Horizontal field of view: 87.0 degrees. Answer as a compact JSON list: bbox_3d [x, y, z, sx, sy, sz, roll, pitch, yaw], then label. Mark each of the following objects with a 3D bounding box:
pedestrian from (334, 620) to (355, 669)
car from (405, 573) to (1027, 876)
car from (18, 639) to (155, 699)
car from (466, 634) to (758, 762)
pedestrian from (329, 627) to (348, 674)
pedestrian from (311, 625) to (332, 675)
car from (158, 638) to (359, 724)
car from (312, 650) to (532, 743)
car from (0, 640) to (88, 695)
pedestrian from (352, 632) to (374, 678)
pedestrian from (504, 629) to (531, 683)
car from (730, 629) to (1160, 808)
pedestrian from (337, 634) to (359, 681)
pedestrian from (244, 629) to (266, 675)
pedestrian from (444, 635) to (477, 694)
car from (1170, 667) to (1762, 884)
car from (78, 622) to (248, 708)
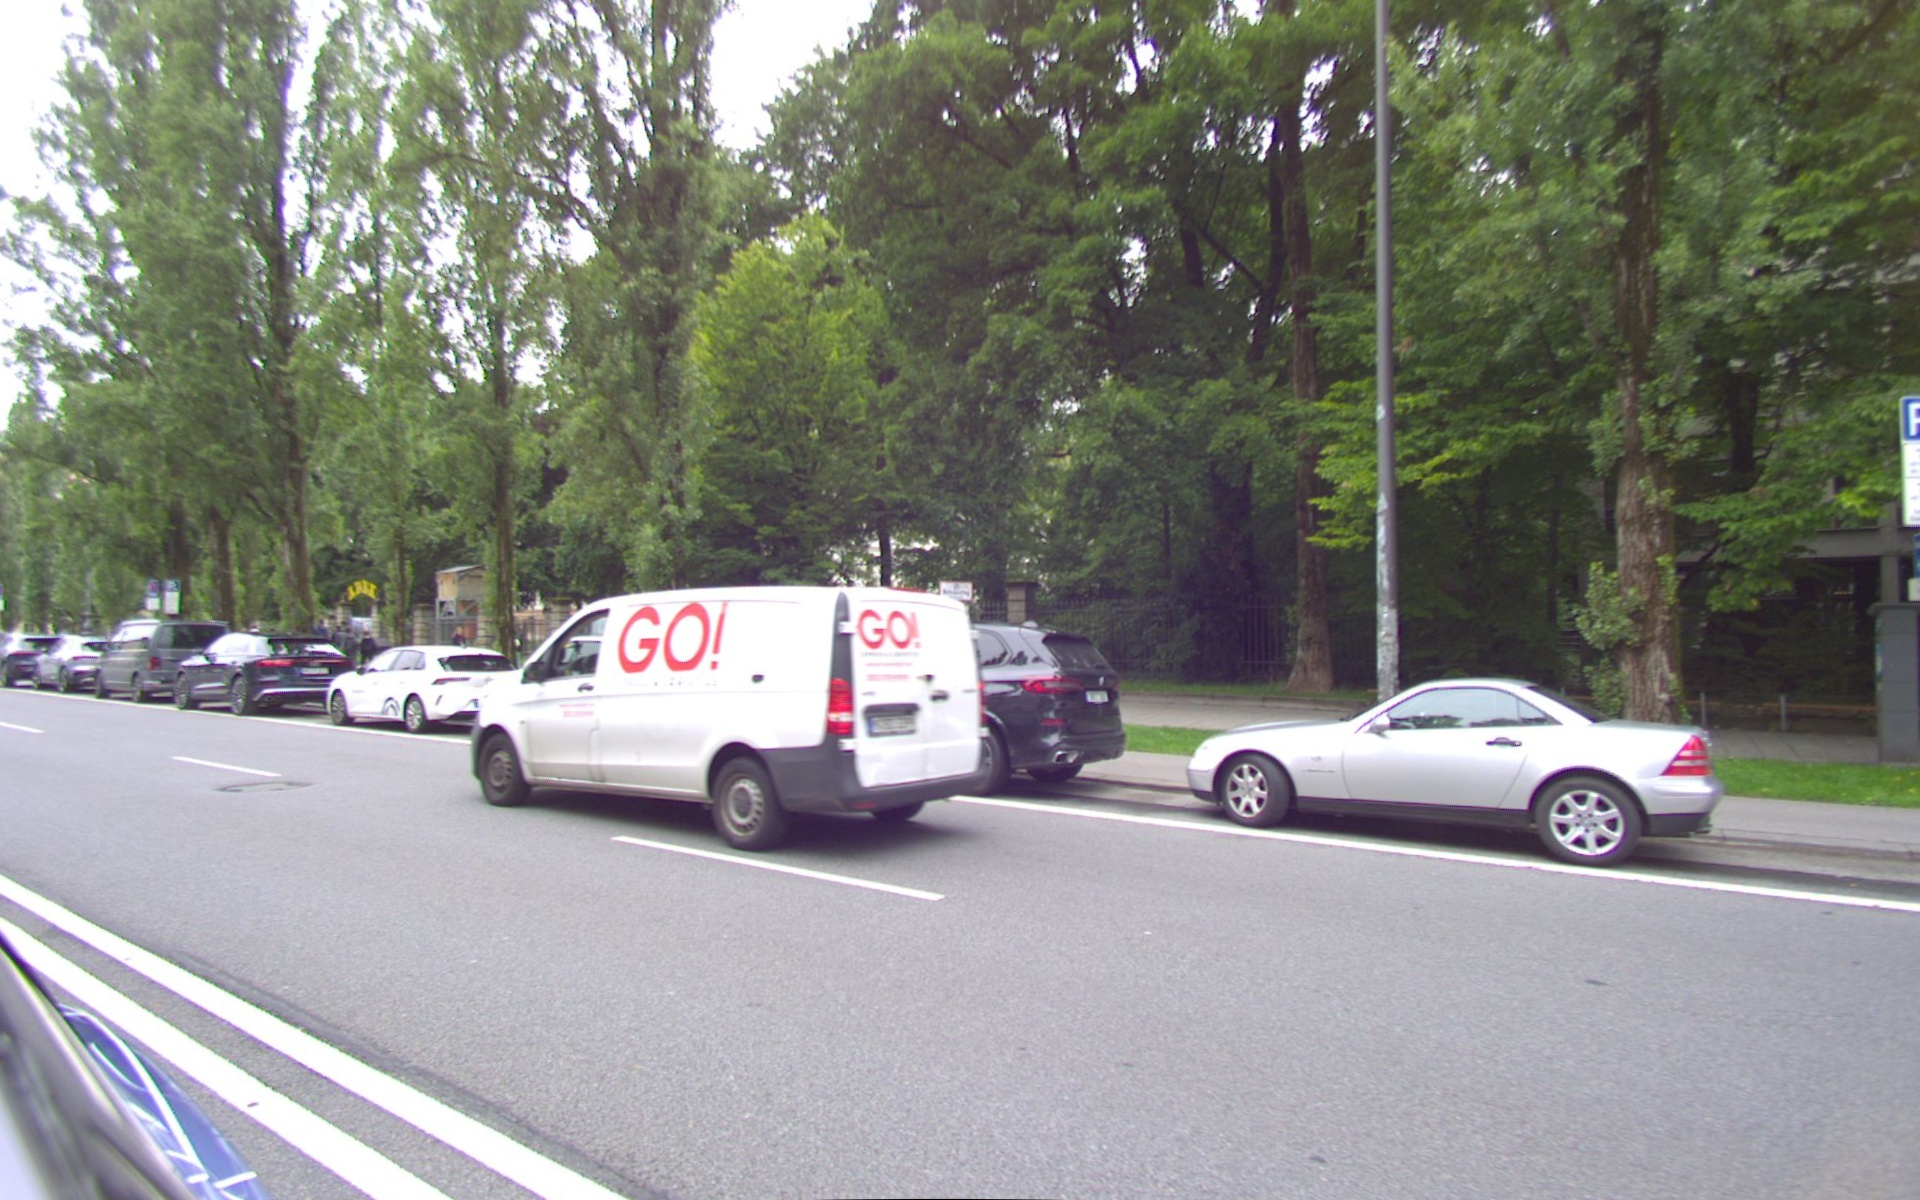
[{"bbox_3d":[-24.990,1.810,41.110,0.530,1.974,0.545,-2,-2,34],"label":"pedestrian"},{"bbox_3d":[-2.387,0.902,8.966,5.684,1.906,2.163,-2,-4,36],"label":"car"},{"bbox_3d":[-25.393,1.953,29.381,4.643,1.596,1.874,-2,-3,35],"label":"car"},{"bbox_3d":[-5.157,1.350,14.774,4.452,1.601,1.769,-2,-5,36],"label":"car"},{"bbox_3d":[-24.829,2.009,40.459,0.610,1.849,0.429,-2,-2,34],"label":"pedestrian"},{"bbox_3d":[-25.376,1.984,40.215,0.530,1.974,0.545,-2,-2,34],"label":"pedestrian"},{"bbox_3d":[-14.925,1.652,21.446,5.041,1.621,1.799,-1,-5,35],"label":"car"},{"bbox_3d":[-9.556,1.624,17.878,4.227,1.433,1.662,-1,-4,35],"label":"car"},{"bbox_3d":[-29.355,2.104,31.835,4.602,1.608,1.766,-2,-4,35],"label":"car"},{"bbox_3d":[-22.366,2.055,37.932,0.530,1.682,0.545,-2,-2,34],"label":"pedestrian"},{"bbox_3d":[-14.696,1.851,33.627,0.671,1.761,0.545,-2,-2,34],"label":"pedestrian"},{"bbox_3d":[-0.272,1.233,11.566,4.705,1.671,1.864,-2,-5,34],"label":"car"},{"bbox_3d":[-22.615,2.120,37.403,0.530,1.714,0.545,-2,-2,34],"label":"pedestrian"},{"bbox_3d":[-27.702,2.039,39.788,0.530,1.761,0.545,-2,-2,34],"label":"pedestrian"},{"bbox_3d":[-14.881,1.903,30.158,0.785,1.733,0.578,-2,-2,34],"label":"pedestrian"},{"bbox_3d":[3.898,1.232,8.258,4.020,1.315,1.566,-2,-4,36],"label":"car"},{"bbox_3d":[-20.142,1.623,25.520,4.925,1.971,1.976,-2,-4,35],"label":"car"}]
